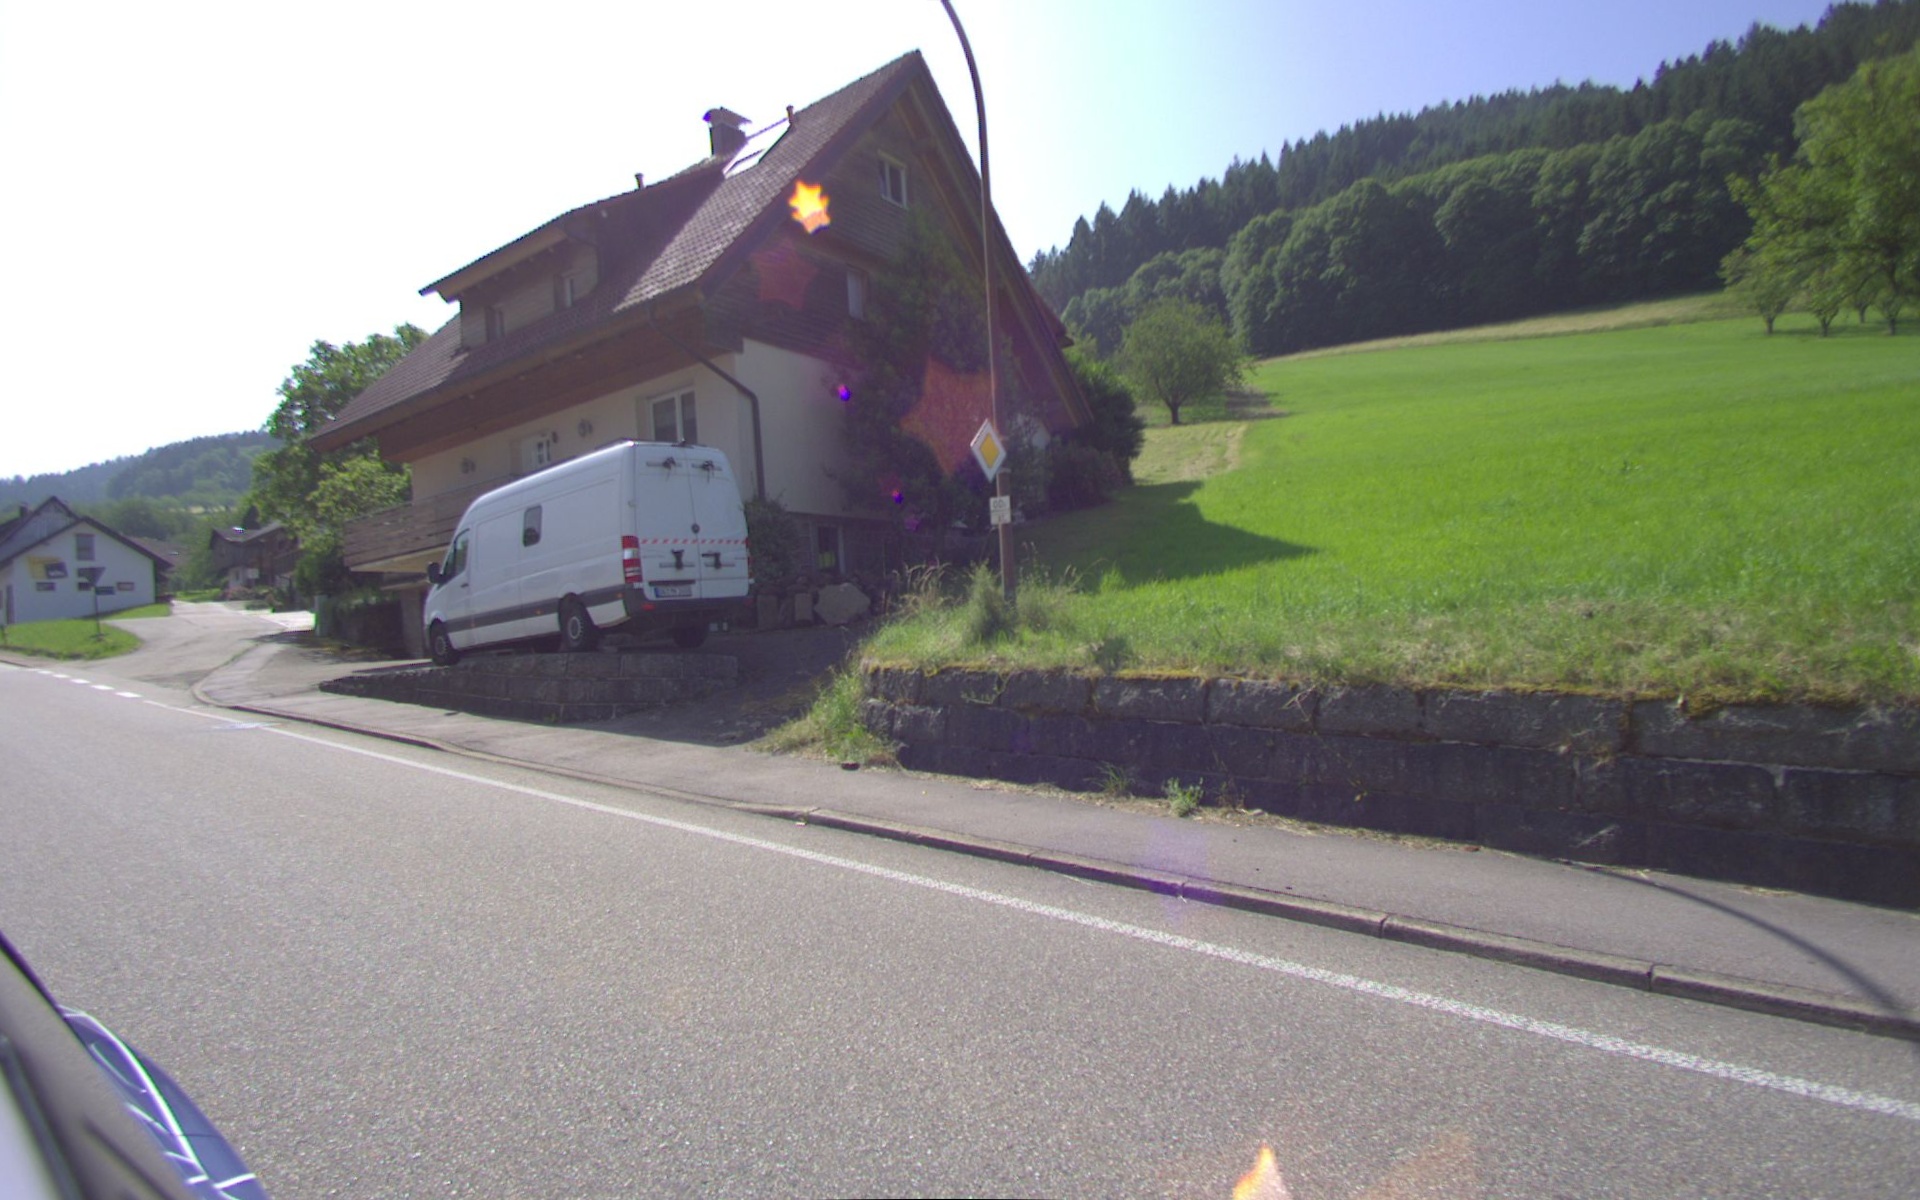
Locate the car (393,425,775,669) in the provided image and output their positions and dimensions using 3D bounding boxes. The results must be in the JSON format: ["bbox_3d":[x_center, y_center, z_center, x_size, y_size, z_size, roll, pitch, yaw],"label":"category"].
[{"bbox_3d":[-5.977,-0.531,15.276,7.169,2.708,2.046,-6,-1,41],"label":"car"}]
